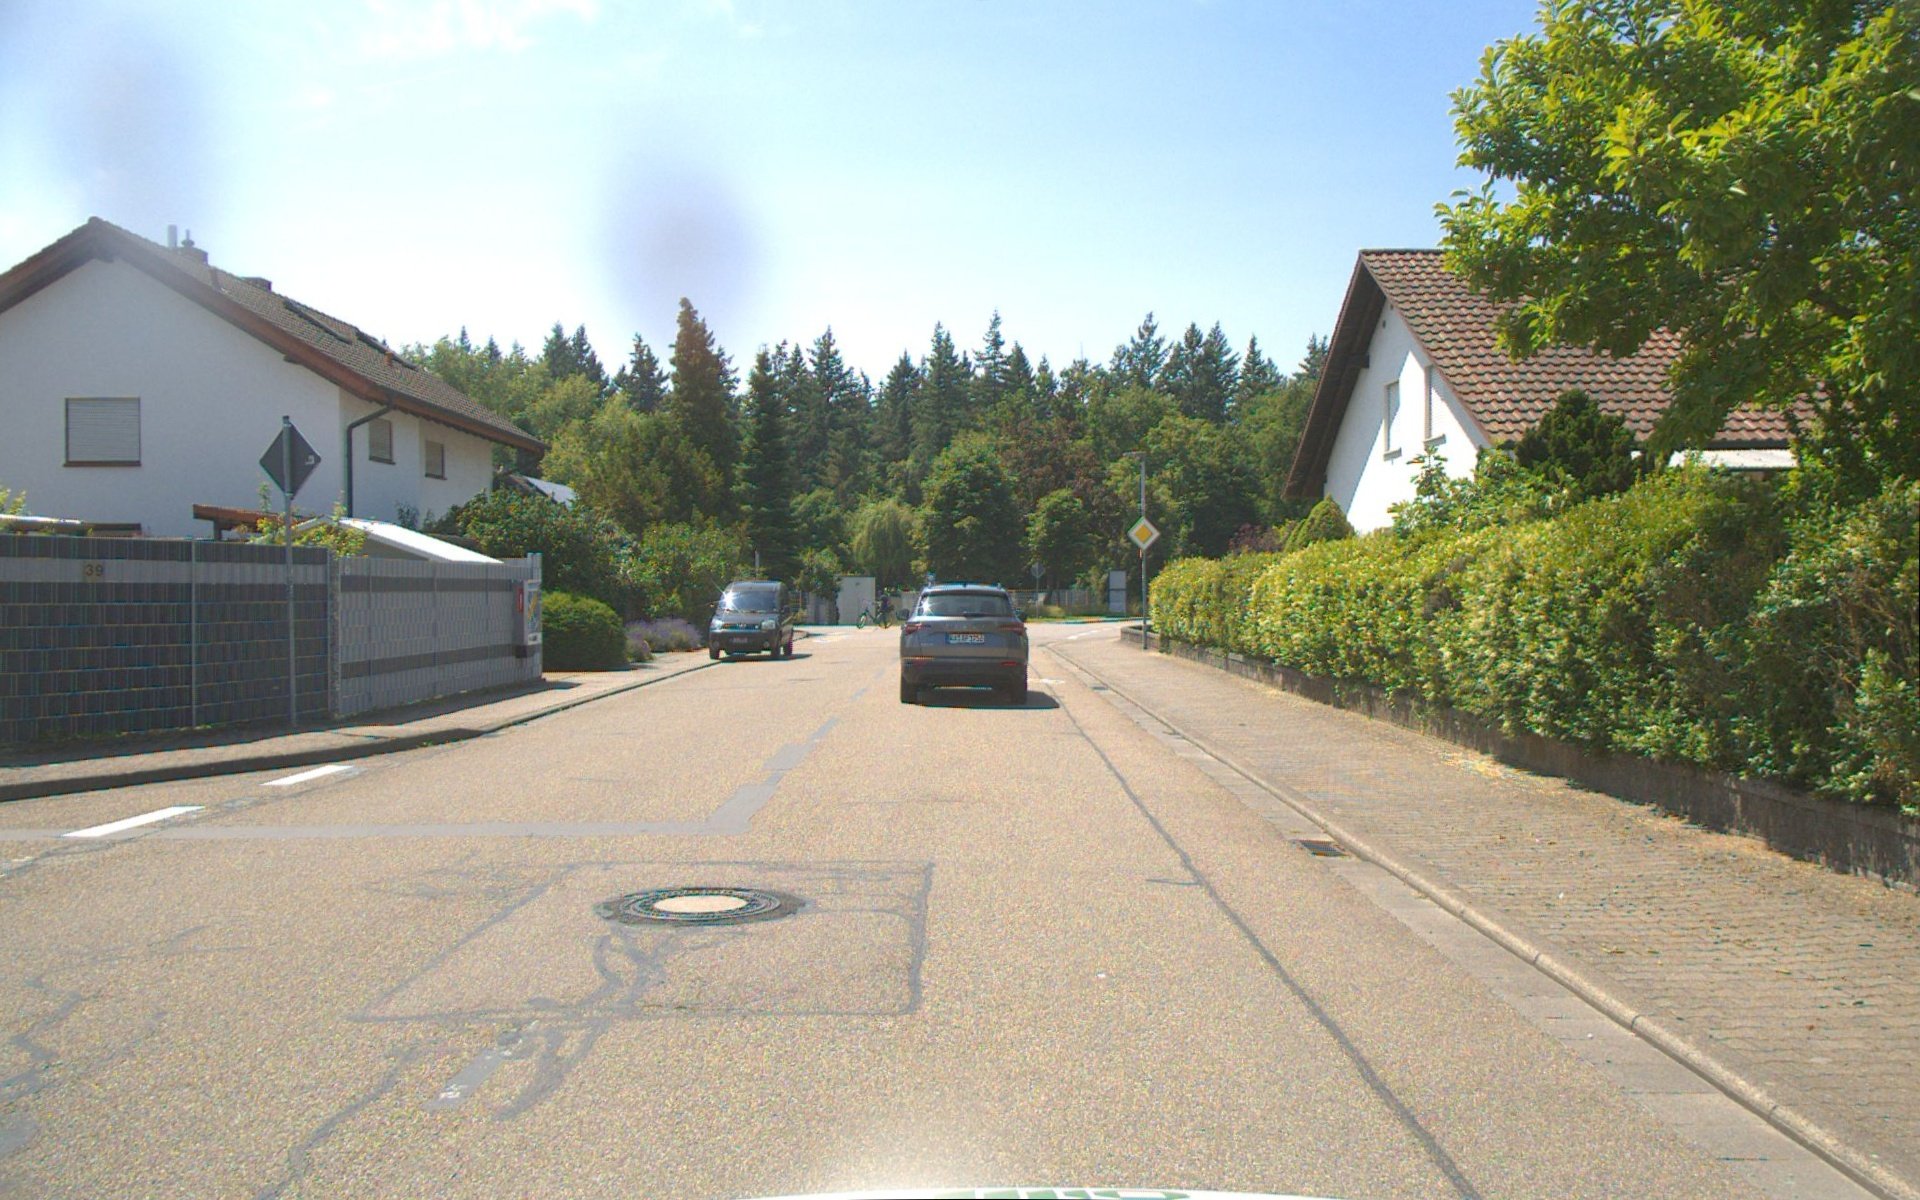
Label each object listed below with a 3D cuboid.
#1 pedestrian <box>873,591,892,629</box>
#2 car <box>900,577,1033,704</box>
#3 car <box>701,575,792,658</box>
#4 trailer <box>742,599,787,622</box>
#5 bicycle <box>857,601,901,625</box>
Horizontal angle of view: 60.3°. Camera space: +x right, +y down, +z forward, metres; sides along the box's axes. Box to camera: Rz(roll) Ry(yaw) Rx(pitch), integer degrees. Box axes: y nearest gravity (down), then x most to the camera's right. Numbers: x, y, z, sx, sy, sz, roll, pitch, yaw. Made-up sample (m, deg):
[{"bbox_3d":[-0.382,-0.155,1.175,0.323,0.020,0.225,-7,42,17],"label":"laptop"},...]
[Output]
[{"bbox_3d":[-3.134,0.407,66.934,0.603,1.527,0.500,0,0,-28],"label":"pedestrian"},{"bbox_3d":[0.055,0.527,23.779,1.726,1.646,3.999,1,0,-1],"label":"car"},{"bbox_3d":[-5.023,0.368,39.294,1.683,1.878,4.053,0,0,-1],"label":"car"},{"bbox_3d":[-9.692,0.527,82.038,2.173,1.103,1.104,0,0,-8],"label":"trailer"},{"bbox_3d":[-3.285,0.525,67.362,1.823,0.980,0.439,0,0,-31],"label":"bicycle"}]
